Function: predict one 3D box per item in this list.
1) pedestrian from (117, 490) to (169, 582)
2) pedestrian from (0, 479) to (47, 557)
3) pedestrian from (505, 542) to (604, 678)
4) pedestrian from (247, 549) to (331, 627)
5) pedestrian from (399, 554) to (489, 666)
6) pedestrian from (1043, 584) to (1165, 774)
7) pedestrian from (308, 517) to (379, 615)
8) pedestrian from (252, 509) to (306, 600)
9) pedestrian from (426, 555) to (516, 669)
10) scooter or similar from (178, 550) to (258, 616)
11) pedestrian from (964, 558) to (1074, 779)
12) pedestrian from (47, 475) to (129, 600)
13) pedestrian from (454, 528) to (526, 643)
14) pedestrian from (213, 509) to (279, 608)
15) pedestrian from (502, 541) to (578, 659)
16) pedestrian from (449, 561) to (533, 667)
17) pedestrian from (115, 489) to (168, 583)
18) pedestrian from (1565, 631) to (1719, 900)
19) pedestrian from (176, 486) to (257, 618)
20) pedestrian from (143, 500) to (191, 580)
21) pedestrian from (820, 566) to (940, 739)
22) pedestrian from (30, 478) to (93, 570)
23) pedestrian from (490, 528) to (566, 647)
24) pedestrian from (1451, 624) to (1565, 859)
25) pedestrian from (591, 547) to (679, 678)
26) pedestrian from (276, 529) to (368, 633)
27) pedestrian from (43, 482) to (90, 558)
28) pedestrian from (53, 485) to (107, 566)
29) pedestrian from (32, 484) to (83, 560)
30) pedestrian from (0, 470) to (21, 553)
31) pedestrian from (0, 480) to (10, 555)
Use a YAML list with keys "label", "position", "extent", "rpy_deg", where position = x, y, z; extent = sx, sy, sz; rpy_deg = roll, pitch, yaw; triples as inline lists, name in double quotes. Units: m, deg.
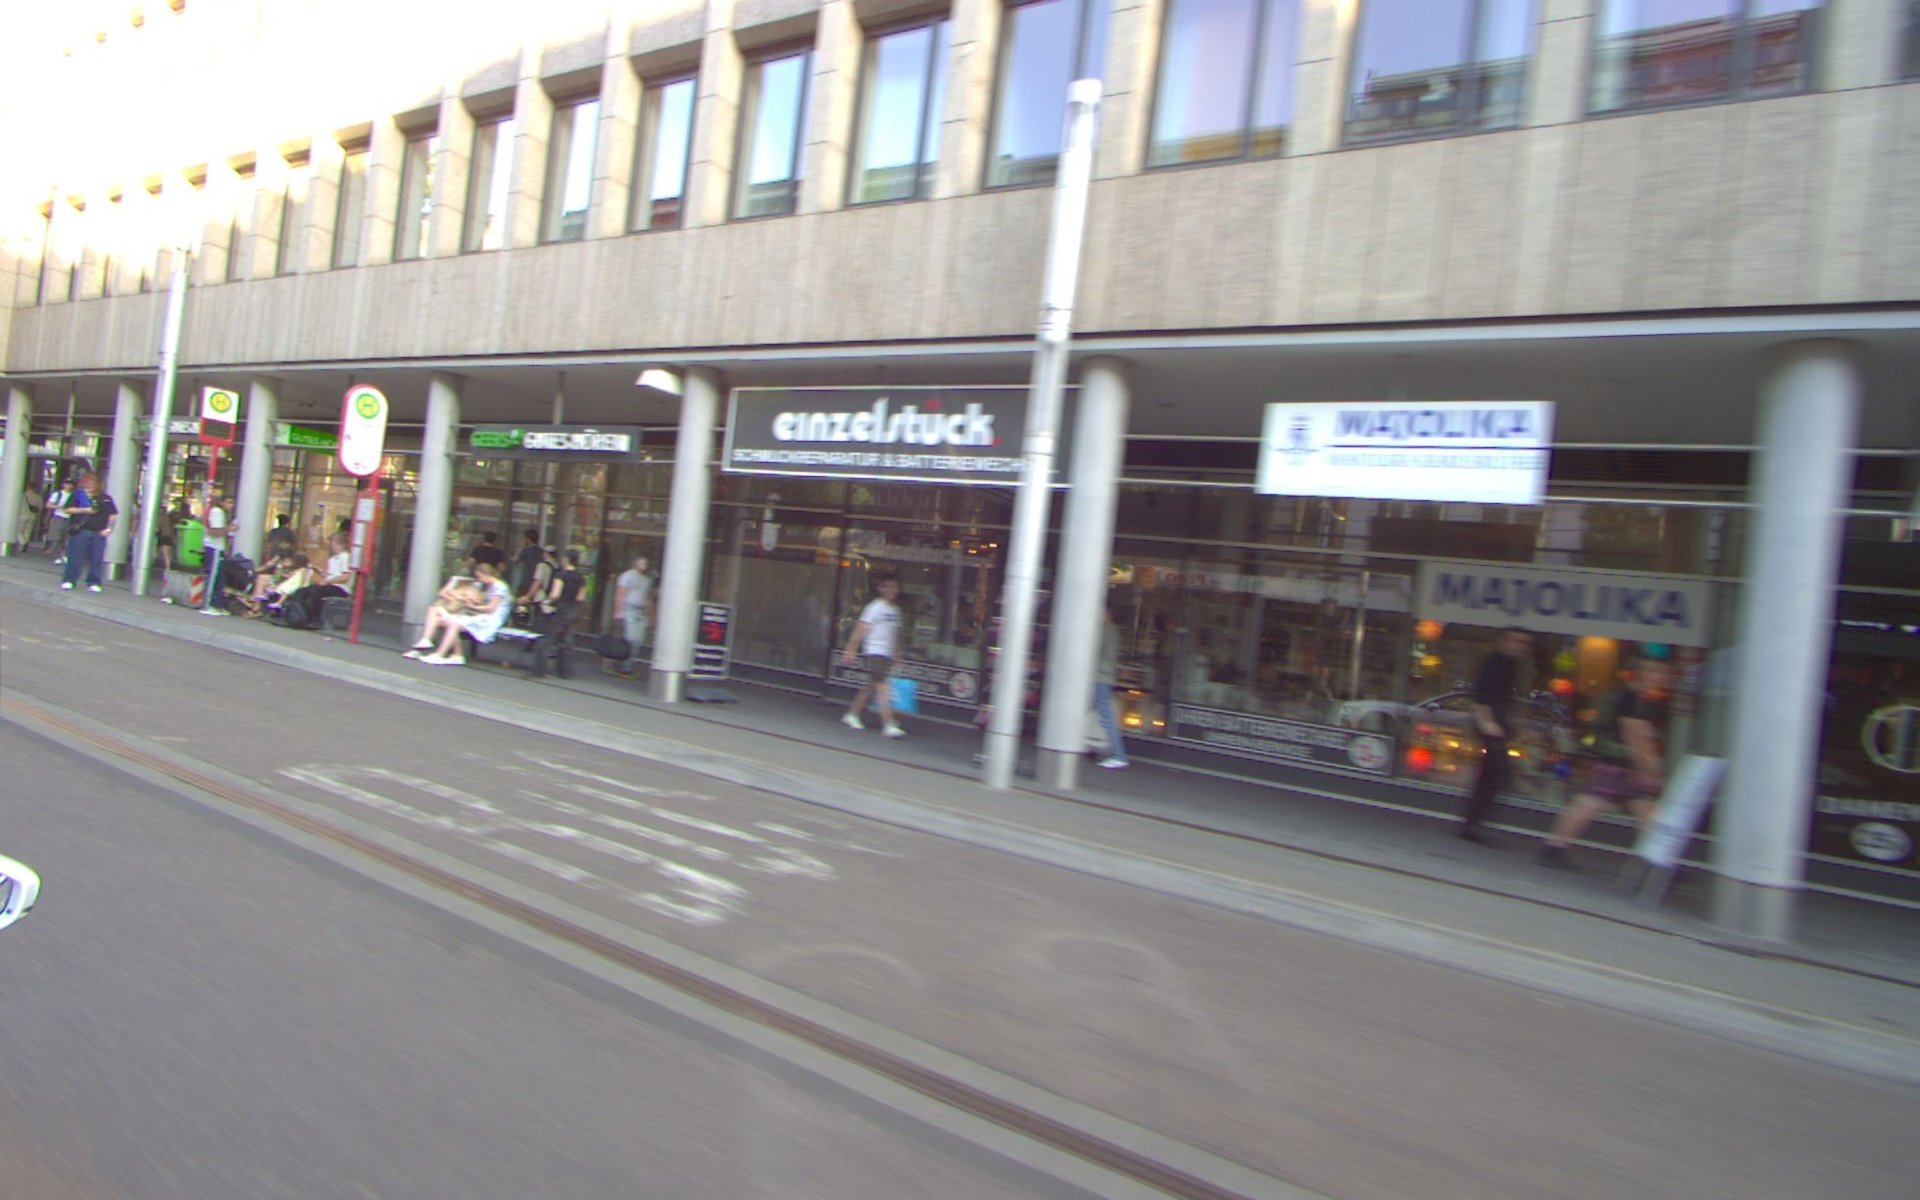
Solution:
- label: "pedestrian"
  position: [-17.139, -1.338, 21.109]
  extent: [0.594, 1.829, 0.540]
  rpy_deg: [7, 1, 29]
- label: "pedestrian"
  position: [-23.219, -2.033, 24.882]
  extent: [0.707, 1.809, 0.663]
  rpy_deg: [6, 1, 31]
- label: "pedestrian"
  position: [-5.050, 0.131, 12.529]
  extent: [0.724, 1.590, 0.725]
  rpy_deg: [6, 1, 32]
- label: "pedestrian"
  position: [-10.162, -0.175, 15.258]
  extent: [0.535, 1.054, 0.814]
  rpy_deg: [6, -1, 32]
- label: "pedestrian"
  position: [-6.587, 0.139, 12.858]
  extent: [0.523, 1.330, 0.719]
  rpy_deg: [6, -1, 32]
- label: "pedestrian"
  position: [1.586, 0.845, 11.033]
  extent: [0.884, 1.913, 0.845]
  rpy_deg: [6, 1, 31]
- label: "pedestrian"
  position: [-12.000, -0.648, 19.601]
  extent: [0.761, 1.794, 0.774]
  rpy_deg: [6, 1, 29]
- label: "pedestrian"
  position: [-13.927, -0.929, 20.573]
  extent: [0.607, 1.753, 0.571]
  rpy_deg: [7, 1, 29]
- label: "pedestrian"
  position: [-6.124, 0.158, 12.607]
  extent: [0.516, 1.330, 0.719]
  rpy_deg: [6, -1, 32]
- label: "scooter or similar"
  position: [-11.701, -0.269, 15.864]
  extent: [0.678, 0.894, 0.832]
  rpy_deg: [6, -3, 45]
- label: "pedestrian"
  position: [0.563, 0.634, 9.516]
  extent: [0.644, 1.968, 0.579]
  rpy_deg: [6, 1, 30]
- label: "pedestrian"
  position: [-13.825, -0.981, 15.953]
  extent: [0.696, 1.862, 0.669]
  rpy_deg: [6, 1, 30]
- label: "pedestrian"
  position: [-7.680, -0.232, 16.445]
  extent: [0.760, 1.775, 0.583]
  rpy_deg: [7, 1, 29]
- label: "pedestrian"
  position: [-12.927, -0.747, 18.218]
  extent: [0.639, 1.682, 0.649]
  rpy_deg: [7, 1, 31]
- label: "pedestrian"
  position: [-6.348, 0.007, 15.222]
  extent: [0.669, 1.682, 0.648]
  rpy_deg: [7, 1, 32]
- label: "pedestrian"
  position: [-6.312, 0.200, 13.555]
  extent: [0.523, 1.330, 0.719]
  rpy_deg: [6, -1, 32]
- label: "pedestrian"
  position: [-16.828, -1.313, 20.694]
  extent: [0.594, 1.829, 0.540]
  rpy_deg: [7, 1, 29]
- label: "pedestrian"
  position: [5.337, 1.254, 7.930]
  extent: [0.783, 1.913, 0.707]
  rpy_deg: [6, 1, 31]
- label: "pedestrian"
  position: [-11.041, -0.702, 14.938]
  extent: [0.657, 1.862, 0.640]
  rpy_deg: [6, 1, 31]
- label: "pedestrian"
  position: [-18.462, -1.398, 23.413]
  extent: [0.607, 1.753, 0.571]
  rpy_deg: [7, 1, 29]
- label: "pedestrian"
  position: [-0.897, 0.586, 11.402]
  extent: [0.844, 1.820, 0.845]
  rpy_deg: [6, 1, 31]
- label: "pedestrian"
  position: [-19.422, -1.642, 21.740]
  extent: [0.865, 1.862, 0.669]
  rpy_deg: [6, 1, 30]
- label: "pedestrian"
  position: [-7.289, -0.208, 16.985]
  extent: [0.760, 1.906, 0.688]
  rpy_deg: [7, 1, 29]
- label: "pedestrian"
  position: [4.837, 1.212, 8.879]
  extent: [0.672, 1.913, 0.617]
  rpy_deg: [6, 1, 32]
- label: "pedestrian"
  position: [-4.416, 0.175, 13.679]
  extent: [0.710, 1.682, 0.688]
  rpy_deg: [6, 1, 32]
- label: "pedestrian"
  position: [-9.411, -0.269, 14.852]
  extent: [0.651, 1.397, 0.814]
  rpy_deg: [6, -1, 32]
- label: "pedestrian"
  position: [-23.375, -2.092, 26.322]
  extent: [0.708, 1.871, 0.663]
  rpy_deg: [6, 1, 36]
- label: "pedestrian"
  position: [-20.927, -1.774, 23.922]
  extent: [0.707, 1.809, 0.663]
  rpy_deg: [6, 1, 31]
- label: "pedestrian"
  position: [-22.919, -1.970, 25.552]
  extent: [0.707, 1.809, 0.663]
  rpy_deg: [6, 1, 31]
- label: "pedestrian"
  position: [-24.238, -2.257, 25.231]
  extent: [0.769, 2.039, 0.687]
  rpy_deg: [7, 1, 31]
- label: "pedestrian"
  position: [-22.990, -1.993, 23.558]
  extent: [0.908, 1.740, 0.764]
  rpy_deg: [6, 0, 32]
